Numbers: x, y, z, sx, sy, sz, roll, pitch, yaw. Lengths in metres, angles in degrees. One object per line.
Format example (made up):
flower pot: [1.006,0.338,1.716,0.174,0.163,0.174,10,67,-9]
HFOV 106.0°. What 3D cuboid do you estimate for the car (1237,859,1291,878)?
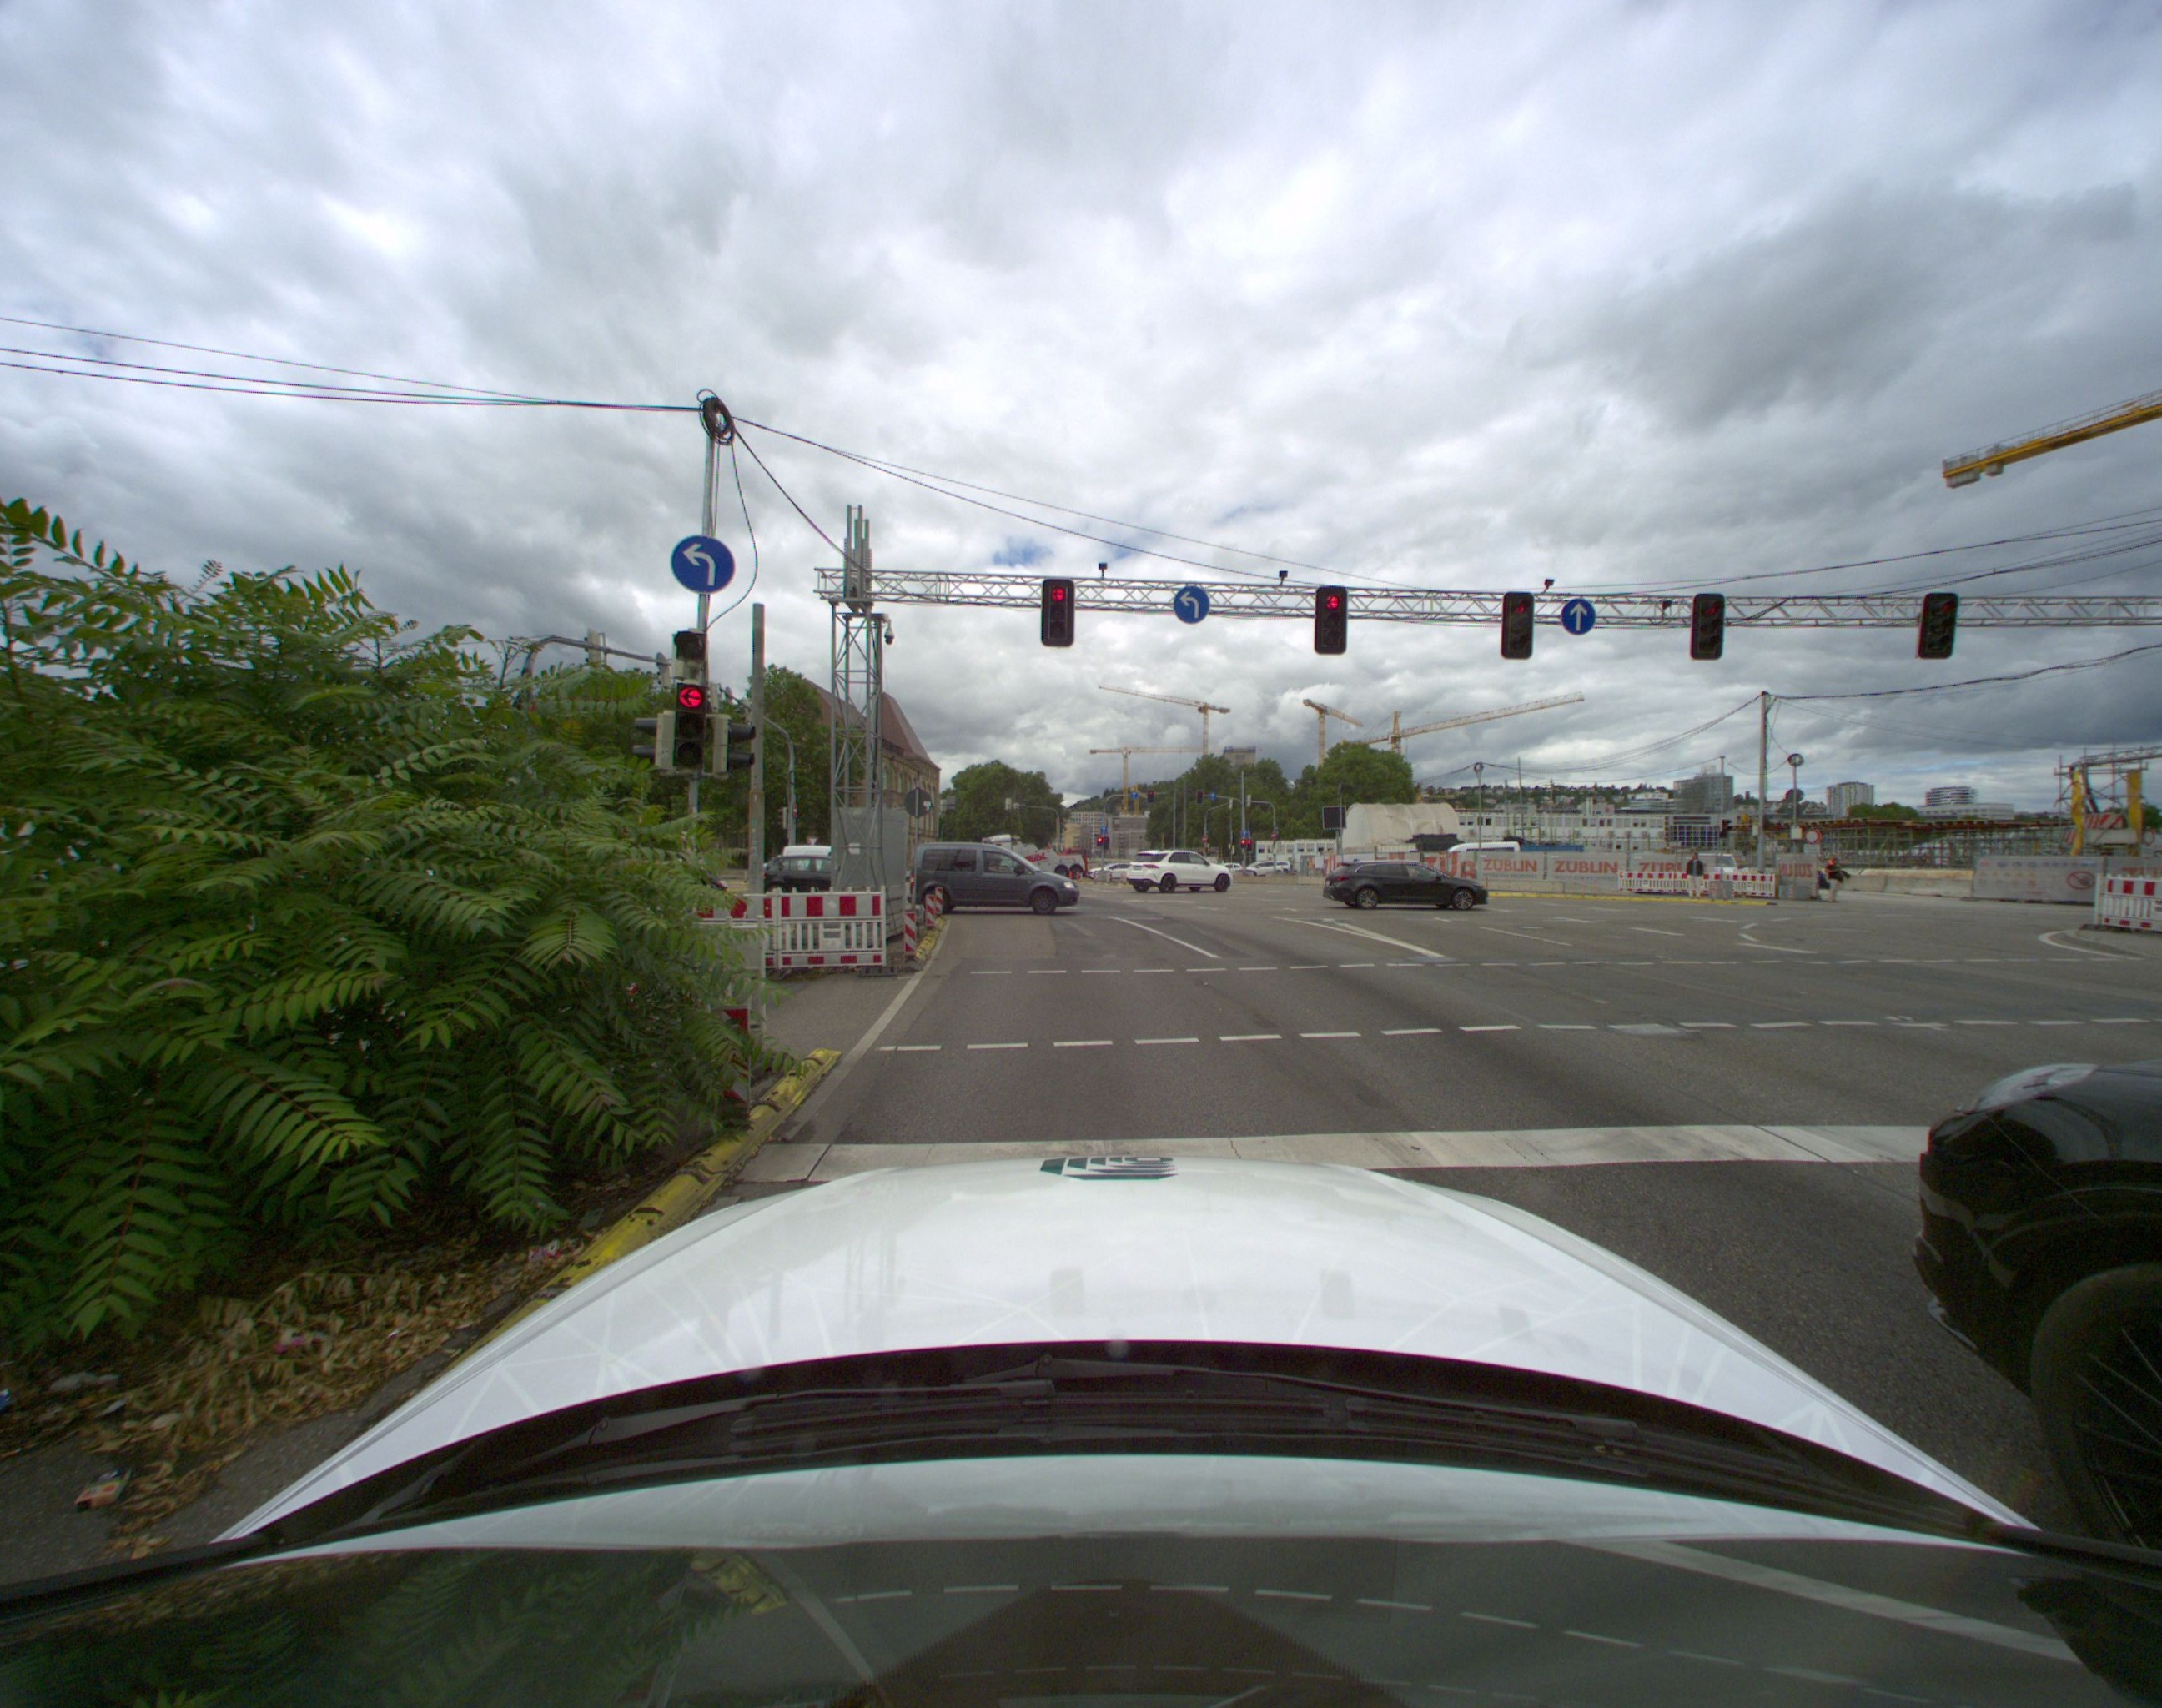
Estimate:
car: [16.773,1.326,74.758,4.602,1.724,1.895,0,-1,-22]

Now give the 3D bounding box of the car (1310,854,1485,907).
car: [9.247,0.768,24.111,4.470,1.466,2.002,0,-1,4]

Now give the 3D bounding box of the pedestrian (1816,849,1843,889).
pedestrian: [38.291,0.746,41.662,0.673,2.014,0.869,-1,-1,14]

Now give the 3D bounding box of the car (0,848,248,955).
car: [-16.738,0.746,14.176,4.316,1.626,1.897,-1,-1,27]

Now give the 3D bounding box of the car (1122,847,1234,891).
car: [4.138,0.592,34.585,4.522,1.759,1.979,0,-1,-34]

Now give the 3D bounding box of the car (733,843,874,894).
car: [-10.458,0.527,30.923,4.692,1.833,1.869,0,-1,-1]

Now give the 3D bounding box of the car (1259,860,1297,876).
car: [21.387,1.486,88.277,3.924,1.673,1.926,-1,-1,15]

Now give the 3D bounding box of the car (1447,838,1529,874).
car: [23.470,0.123,47.104,3.955,2.014,2.009,-1,-1,17]

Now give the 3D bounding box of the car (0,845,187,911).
car: [-24.944,0.576,20.055,3.841,1.542,1.713,0,-1,-1]

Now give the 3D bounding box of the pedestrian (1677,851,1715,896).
pedestrian: [25.677,0.825,34.030,1.035,1.848,0.794,-1,-1,17]

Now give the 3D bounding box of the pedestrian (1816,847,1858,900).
pedestrian: [29.738,0.760,32.043,1.033,2.014,1.041,-1,-1,33]

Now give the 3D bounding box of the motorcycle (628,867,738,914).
motorcycle: [-10.121,0.919,20.776,2.413,1.155,0.818,0,-1,2]

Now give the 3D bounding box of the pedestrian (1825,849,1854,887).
pedestrian: [39.115,0.729,42.000,0.677,1.916,0.865,0,-1,-4]

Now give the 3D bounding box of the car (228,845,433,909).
car: [-21.647,0.653,23.628,4.063,1.740,1.909,1,-1,-1]

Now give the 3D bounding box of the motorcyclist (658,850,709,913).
motorcyclist: [-10.132,0.702,20.778,0.875,1.571,0.818,0,-1,2]

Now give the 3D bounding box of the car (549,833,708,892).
car: [-15.360,0.255,27.812,4.226,1.833,2.002,-1,3,3]

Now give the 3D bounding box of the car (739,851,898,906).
car: [-7.724,0.709,24.316,4.096,1.547,1.998,0,-1,-2]

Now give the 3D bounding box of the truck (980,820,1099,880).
truck: [-3.554,-0.332,69.721,9.750,4.961,3.092,0,-1,-21]

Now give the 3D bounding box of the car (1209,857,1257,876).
car: [14.434,1.208,77.432,4.164,1.724,1.895,0,-1,-22]

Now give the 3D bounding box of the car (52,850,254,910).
car: [-28.763,0.794,25.350,3.975,1.740,1.909,1,-1,-1]

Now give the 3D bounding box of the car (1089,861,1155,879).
car: [3.503,1.332,69.221,5.153,1.419,2.221,0,-1,-22]

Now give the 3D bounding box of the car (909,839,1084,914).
car: [-2.071,0.552,20.955,4.254,1.805,2.000,0,-1,1]

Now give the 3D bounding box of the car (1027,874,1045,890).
car: [-5.442,3.316,98.142,1.987,1.838,3.998,0,-1,-1]
